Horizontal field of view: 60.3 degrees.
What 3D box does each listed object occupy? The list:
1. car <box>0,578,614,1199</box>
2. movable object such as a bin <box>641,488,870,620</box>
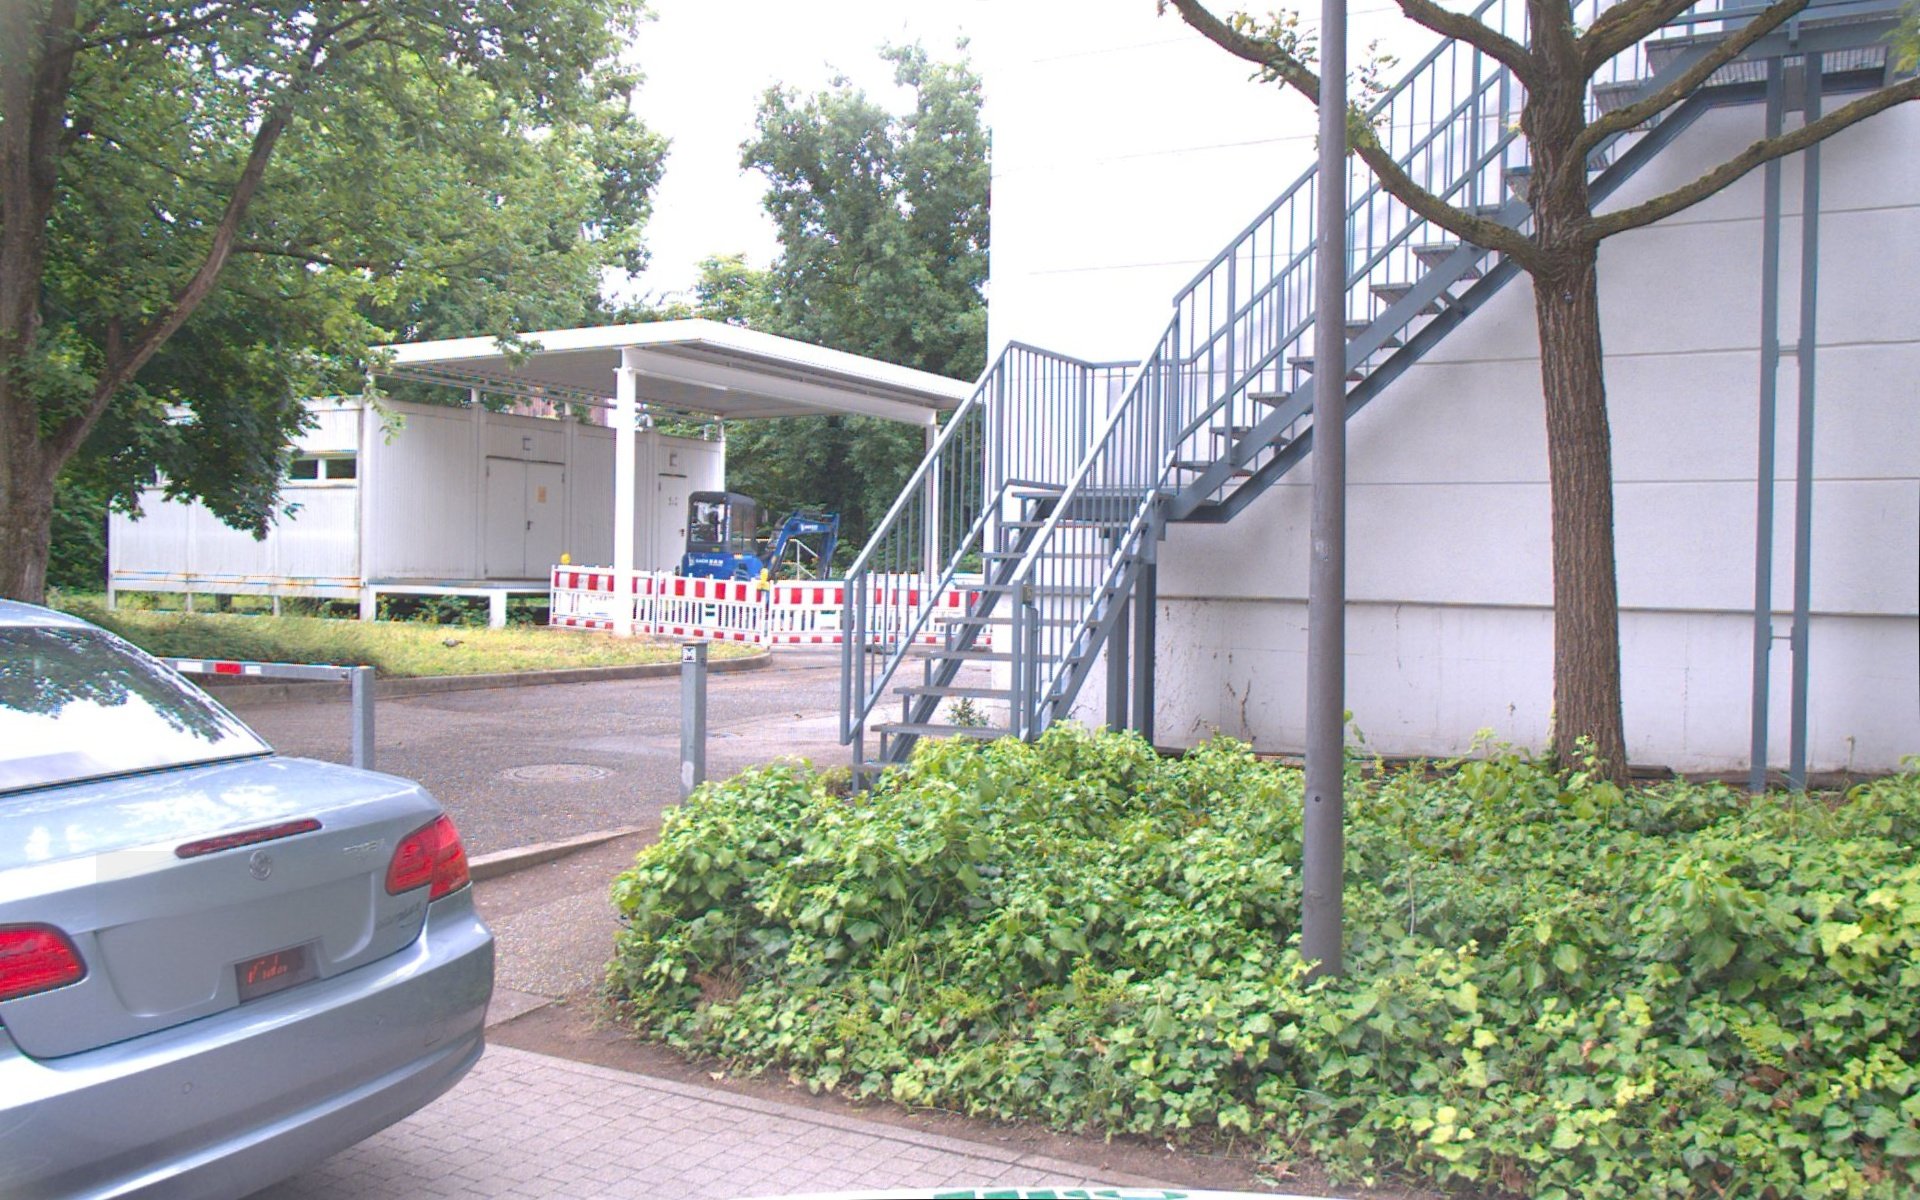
[{"bbox_3d":[-3.054,0.661,4.002,4.098,1.413,1.822,1,1,26],"label":"car"},{"bbox_3d":[-3.614,-0.775,30.209,1.954,2.209,4.667,1,0,25],"label":"movable object such as a bin"}]
